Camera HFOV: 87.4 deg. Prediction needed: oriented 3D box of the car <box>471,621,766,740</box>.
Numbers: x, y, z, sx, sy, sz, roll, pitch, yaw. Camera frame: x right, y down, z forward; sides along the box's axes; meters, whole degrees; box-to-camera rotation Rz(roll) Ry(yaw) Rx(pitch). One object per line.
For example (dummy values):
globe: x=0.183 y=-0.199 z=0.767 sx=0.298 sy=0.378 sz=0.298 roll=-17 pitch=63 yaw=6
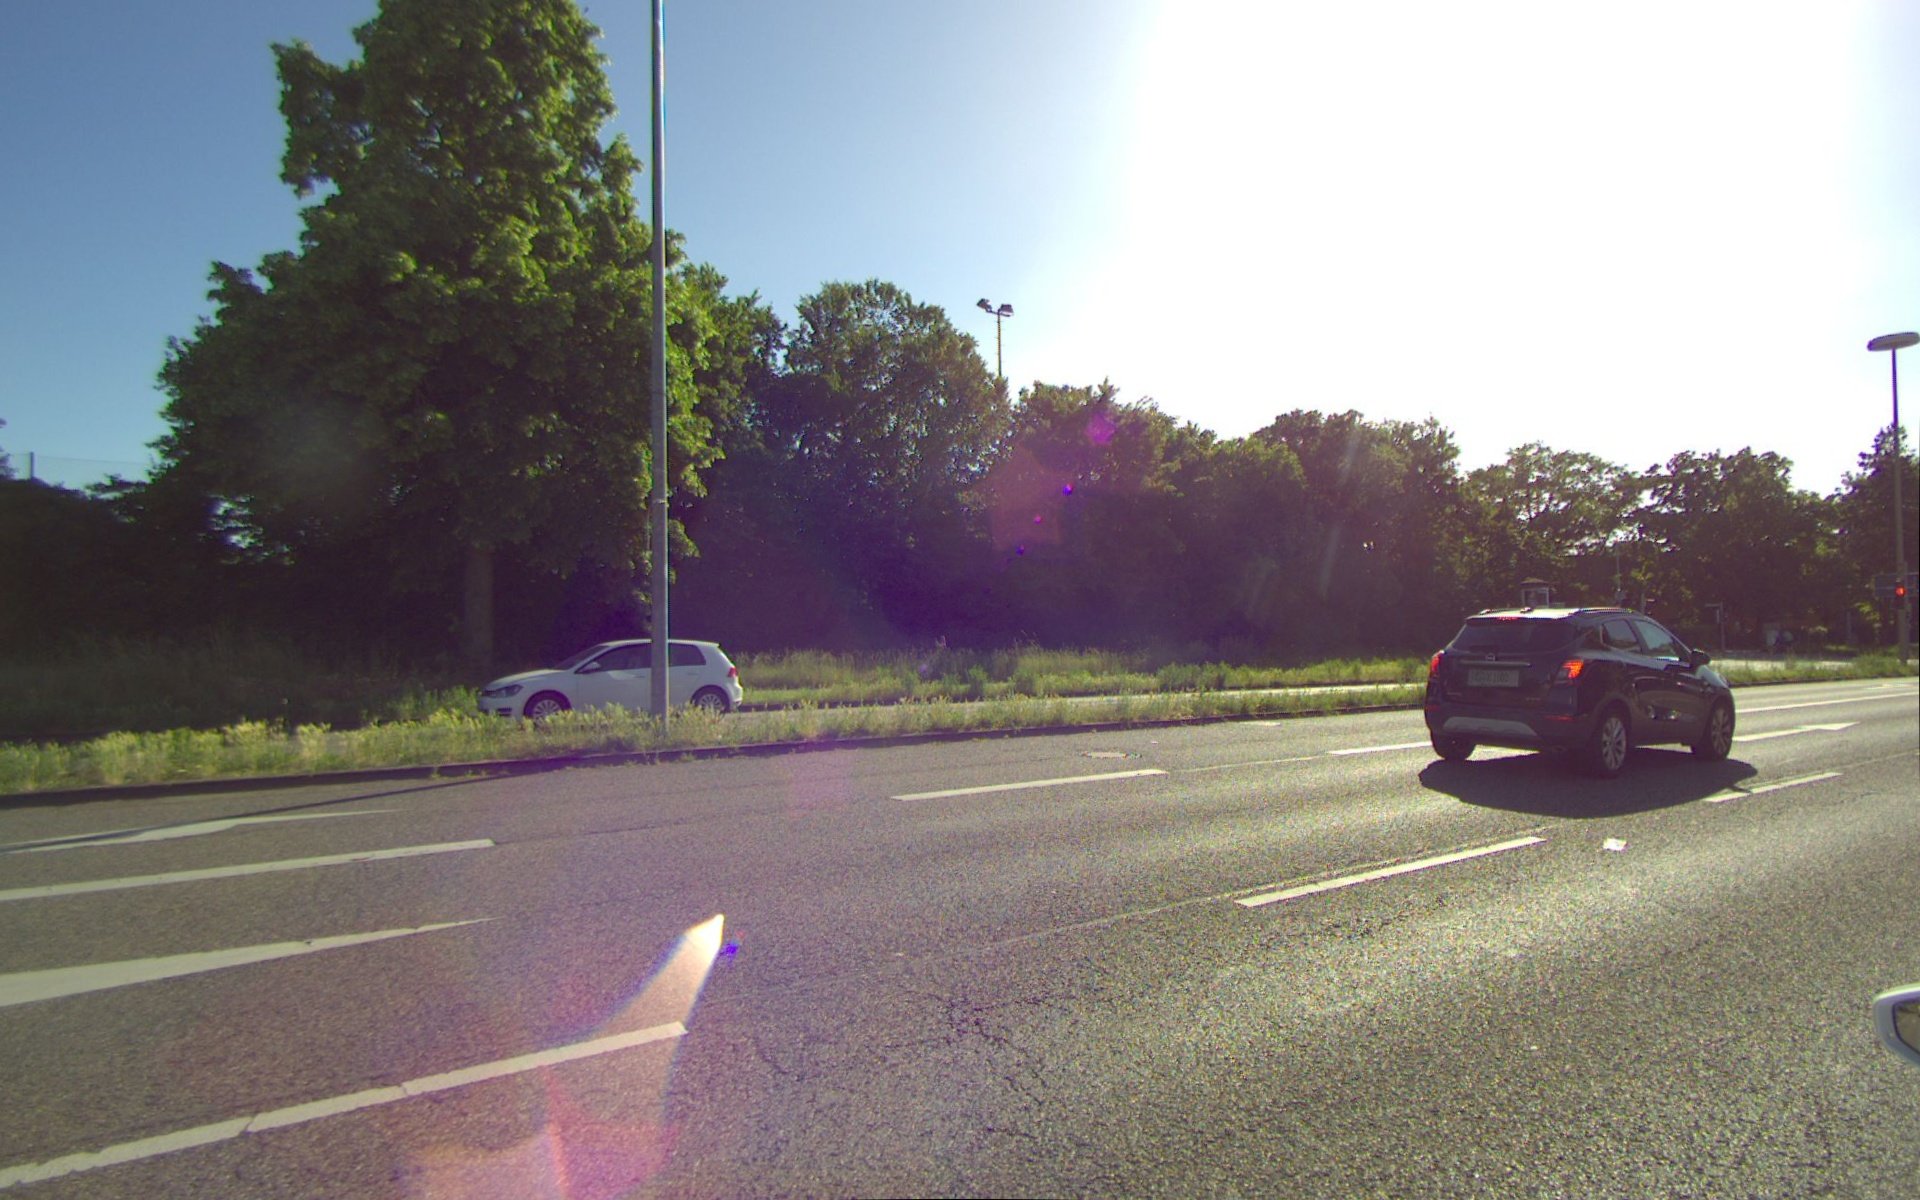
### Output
car: x=-5.692 y=1.285 z=16.926 sx=4.360 sy=1.725 sz=1.901 roll=2 pitch=-1 yaw=-33

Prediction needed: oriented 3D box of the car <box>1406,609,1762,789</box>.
car: x=7.016 y=0.974 z=11.159 sx=4.370 sy=1.653 sz=1.686 roll=1 pitch=-2 yaw=-33

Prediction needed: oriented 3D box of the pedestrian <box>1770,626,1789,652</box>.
pedestrian: x=57.385 y=2.734 z=70.368 sx=0.543 sy=1.859 sz=0.842 roll=0 pitch=-2 yaw=-29
